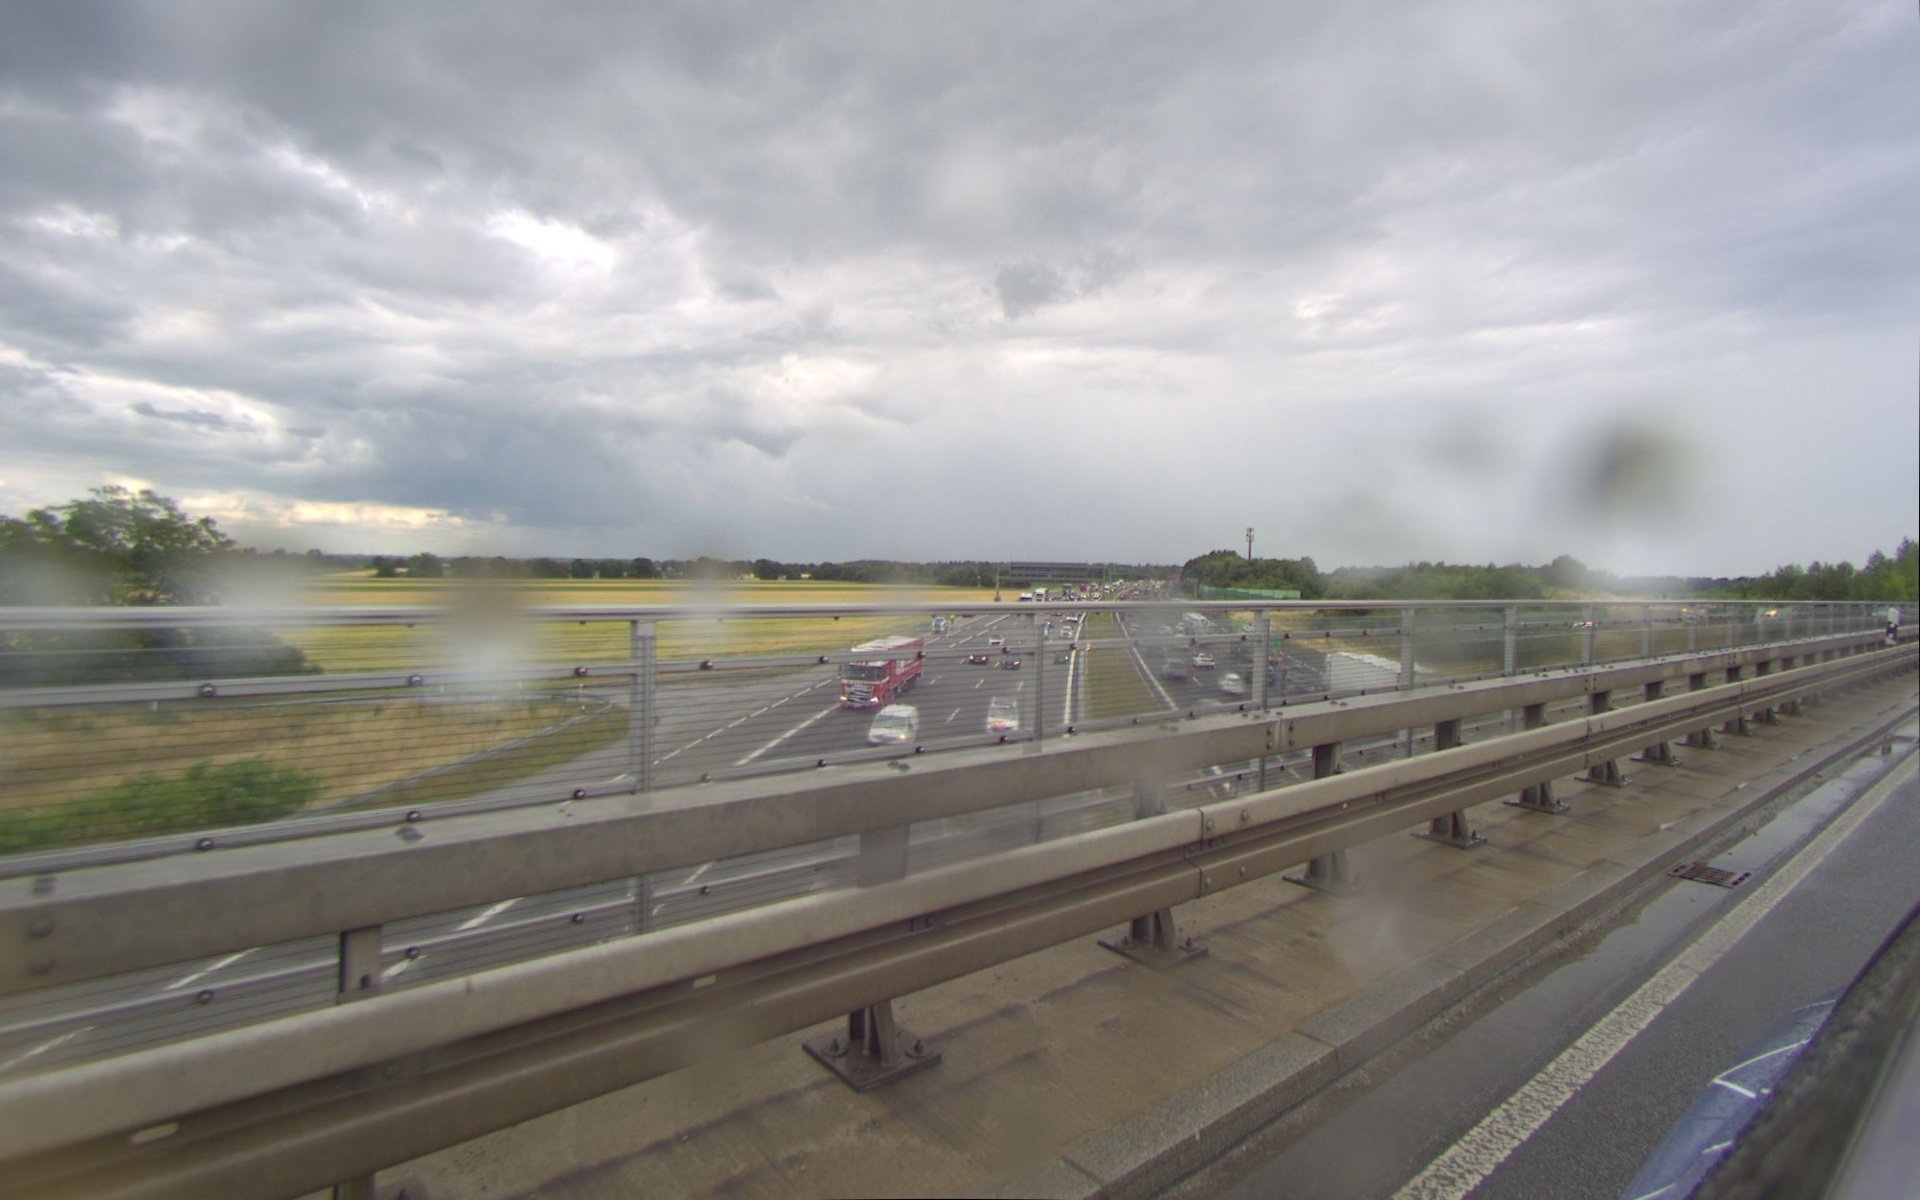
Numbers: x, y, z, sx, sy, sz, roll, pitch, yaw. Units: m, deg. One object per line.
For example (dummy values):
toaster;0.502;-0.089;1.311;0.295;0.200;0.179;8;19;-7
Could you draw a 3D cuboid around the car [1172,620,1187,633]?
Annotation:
car;33.560;4.066;154.825;1.826;1.797;4.714;0;0;8

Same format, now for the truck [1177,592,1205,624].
truck;42.089;1.324;184.776;3.434;5.419;15.598;0;0;7

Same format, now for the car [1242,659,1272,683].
car;25.384;6.057;86.610;1.826;1.690;4.714;0;0;8

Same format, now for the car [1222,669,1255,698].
car;21.088;6.308;76.829;1.826;1.690;4.714;0;0;8

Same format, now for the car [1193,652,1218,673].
car;23.538;5.965;97.113;1.826;1.690;4.714;0;0;8

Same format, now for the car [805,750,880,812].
car;-4.362;6.790;38.426;1.783;1.454;4.715;0;1;7

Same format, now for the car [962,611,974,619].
car;1.459;2.787;186.679;1.783;1.454;4.715;0;1;7

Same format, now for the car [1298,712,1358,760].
car;18.257;6.730;50.422;1.826;1.690;4.714;0;0;8

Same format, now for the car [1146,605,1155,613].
car;44.712;2.053;237.372;1.826;1.797;4.714;0;0;8

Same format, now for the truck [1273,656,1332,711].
truck;23.791;5.699;70.647;2.175;3.003;9.287;0;0;8

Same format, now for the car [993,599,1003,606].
car;8.254;0.637;221.542;1.783;1.454;4.715;0;1;7

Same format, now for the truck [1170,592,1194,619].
truck;45.903;1.048;209.863;3.434;5.419;15.598;0;0;7

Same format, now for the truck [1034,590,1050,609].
truck;21.610;-0.216;265.296;2.750;4.675;12.713;0;0;11

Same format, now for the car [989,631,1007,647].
car;4.666;4.727;123.348;1.784;1.690;4.714;0;0;8

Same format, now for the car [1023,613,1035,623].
car;12.415;3.209;181.344;1.826;1.690;4.714;0;0;8

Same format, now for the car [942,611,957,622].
car;-1.686;2.682;163.261;1.826;1.690;4.714;0;0;8

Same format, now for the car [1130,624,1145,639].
car;24.579;4.333;140.450;1.826;1.797;4.714;0;0;8

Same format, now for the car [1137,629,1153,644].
car;23.448;4.622;128.460;1.826;1.690;4.714;0;0;8

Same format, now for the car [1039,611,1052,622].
car;13.786;2.638;162.603;1.784;1.690;4.714;0;0;8

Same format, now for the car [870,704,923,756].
car;-3.123;6.433;50.557;1.783;1.907;4.715;0;0;7

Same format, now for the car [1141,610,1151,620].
car;36.496;2.950;198.721;1.826;1.797;4.714;0;0;8

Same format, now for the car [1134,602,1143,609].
car;44.022;1.315;249.638;1.826;1.797;4.714;0;0;8

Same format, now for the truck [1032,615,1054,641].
truck;11.228;3.677;136.372;2.553;3.219;8.376;0;0;8

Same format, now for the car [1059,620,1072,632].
car;16.473;4.084;157.279;1.826;1.690;4.714;0;0;8

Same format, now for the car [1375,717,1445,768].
car;21.523;6.791;48.617;1.826;1.690;4.714;0;0;8

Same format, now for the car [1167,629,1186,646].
car;25.446;4.442;119.136;1.826;1.797;4.714;0;0;8

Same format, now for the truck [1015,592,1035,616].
truck;14.468;0.784;223.893;2.750;4.961;12.713;0;0;11

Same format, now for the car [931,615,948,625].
car;-3.040;2.969;150.621;1.783;1.454;4.715;0;1;7

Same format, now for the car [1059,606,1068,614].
car;23.380;2.203;227.475;1.826;1.690;4.714;0;0;8

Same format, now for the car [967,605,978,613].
car;2.518;1.791;199.754;1.783;1.454;4.715;0;1;7

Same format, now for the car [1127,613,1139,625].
car;29.772;3.250;174.497;1.826;1.797;4.714;0;0;8

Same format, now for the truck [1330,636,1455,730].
truck;27.343;4.989;65.128;3.545;4.594;15.591;0;1;9

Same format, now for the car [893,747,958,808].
car;-1.269;6.752;38.928;1.783;1.454;4.715;0;1;7

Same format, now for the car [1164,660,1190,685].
car;18.175;6.069;84.855;1.826;1.690;4.714;0;0;8

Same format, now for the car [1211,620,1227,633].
car;39.561;4.080;154.401;1.826;1.797;4.714;0;0;8

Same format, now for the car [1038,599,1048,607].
car;18.234;0.647;221.950;1.826;1.690;4.714;0;0;8

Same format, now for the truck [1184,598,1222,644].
truck;31.827;2.587;133.265;3.241;5.511;15.598;0;0;7

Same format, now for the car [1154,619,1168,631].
car;32.208;4.029;162.240;1.826;1.797;4.714;0;0;8

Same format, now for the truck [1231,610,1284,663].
truck;32.981;3.877;112.906;3.241;5.230;15.598;0;0;7

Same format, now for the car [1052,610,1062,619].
car;20.033;2.932;209.618;1.826;1.690;4.714;0;0;8

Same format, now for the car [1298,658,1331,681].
car;30.972;6.044;88.483;1.826;1.690;4.713;0;0;8

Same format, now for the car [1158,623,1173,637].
car;29.312;4.276;144.543;1.826;1.797;4.714;0;0;8

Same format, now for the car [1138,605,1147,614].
car;41.165;2.135;228.131;1.826;1.797;4.714;0;0;8

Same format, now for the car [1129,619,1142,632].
car;27.946;4.055;160.919;1.826;1.797;4.714;0;0;8

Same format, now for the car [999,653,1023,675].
car;4.806;5.983;94.938;1.784;1.690;4.714;0;0;8

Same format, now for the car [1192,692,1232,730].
car;14.951;6.566;60.178;1.826;1.690;4.714;0;0;8

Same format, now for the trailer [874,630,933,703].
trailer;-4.089;4.828;76.209;2.641;4.687;9.889;0;0;7

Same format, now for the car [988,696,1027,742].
car;2.669;6.493;55.720;1.783;1.870;4.715;0;0;7

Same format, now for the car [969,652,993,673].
car;2.015;5.965;96.707;1.784;1.690;4.714;0;0;8

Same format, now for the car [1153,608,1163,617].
car;42.268;2.653;216.470;1.826;1.797;4.714;0;0;8

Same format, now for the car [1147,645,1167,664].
car;20.873;5.716;107.186;1.826;1.690;4.714;0;0;8

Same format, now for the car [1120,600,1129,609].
car;35.348;0.913;217.335;1.826;1.797;4.714;0;0;8

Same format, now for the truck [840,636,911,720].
truck;-5.365;4.922;66.494;2.641;4.684;9.733;0;0;7
